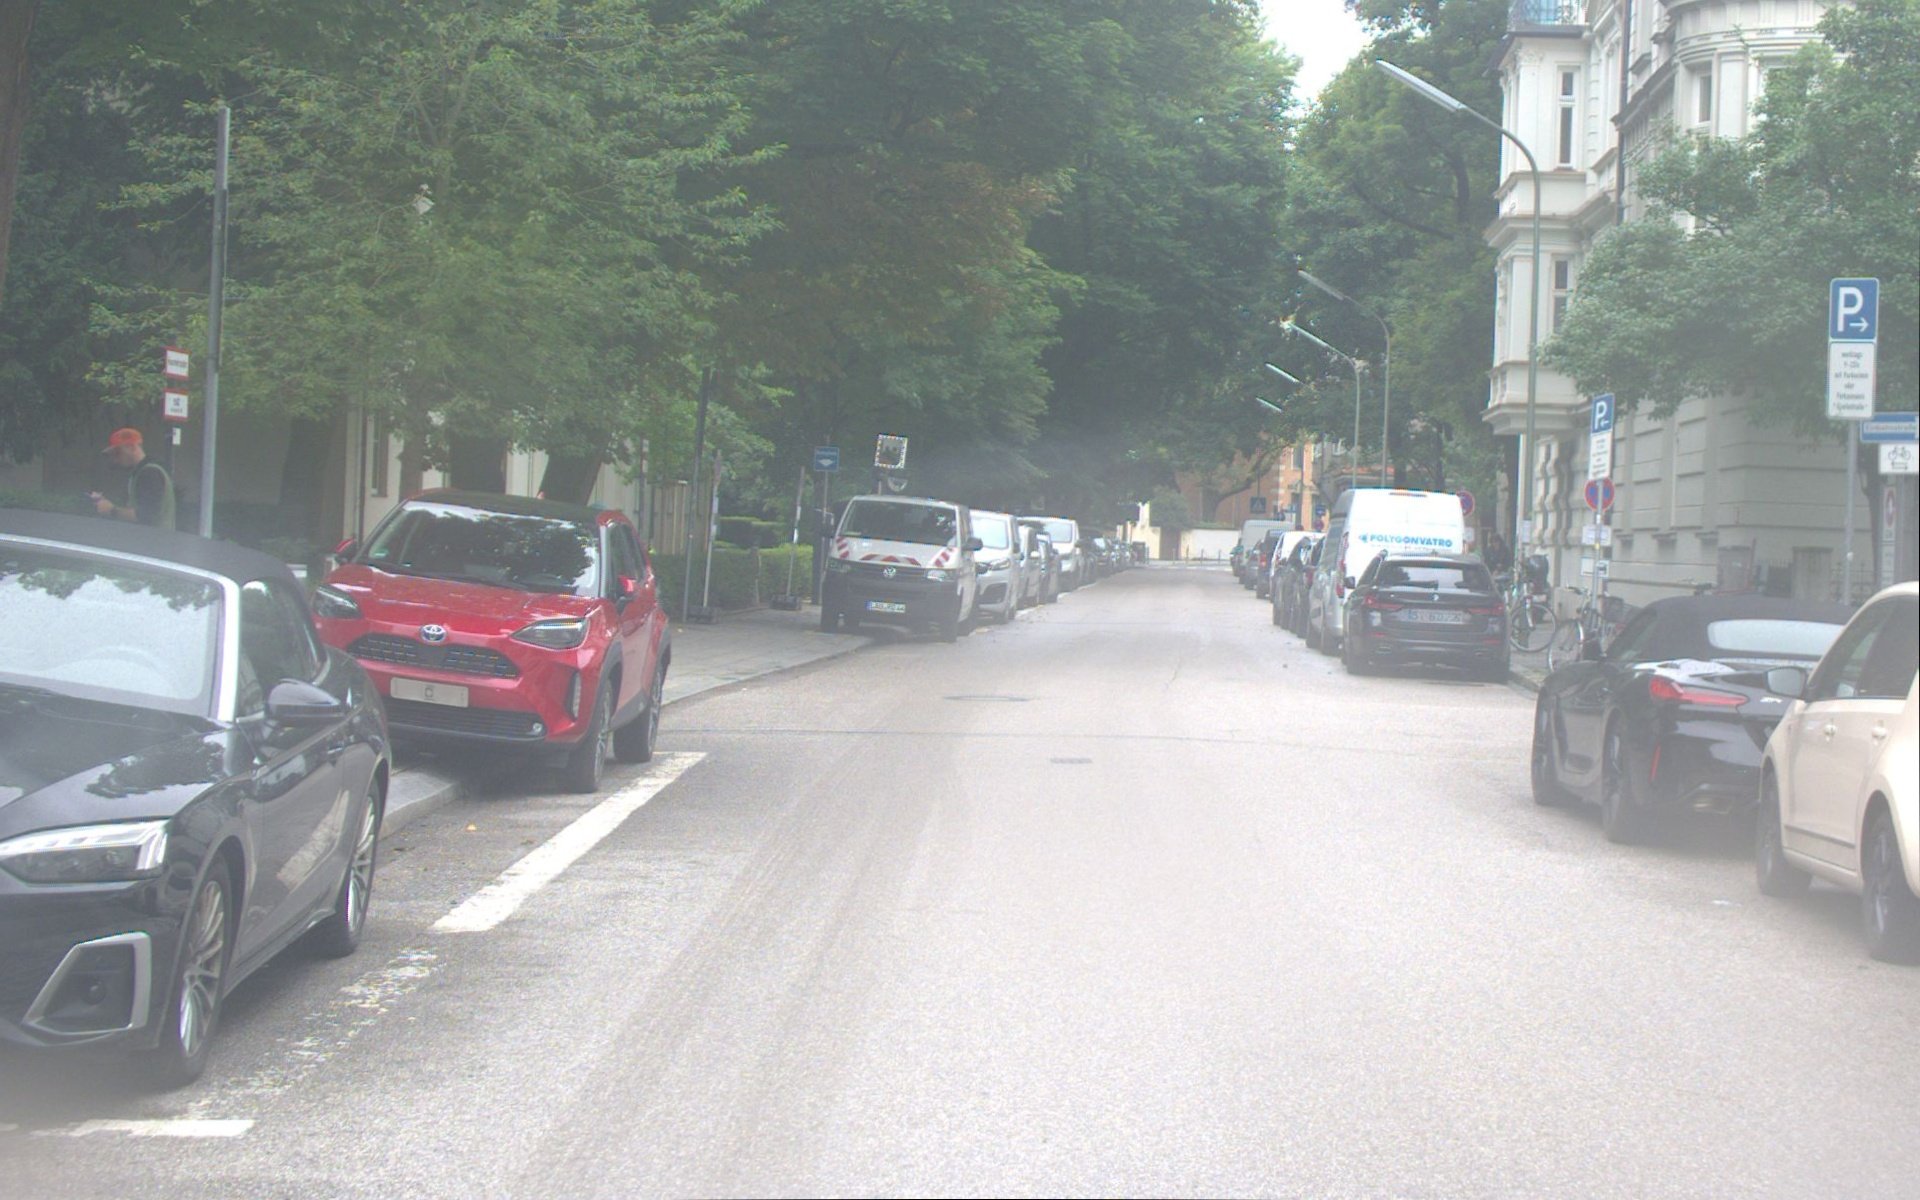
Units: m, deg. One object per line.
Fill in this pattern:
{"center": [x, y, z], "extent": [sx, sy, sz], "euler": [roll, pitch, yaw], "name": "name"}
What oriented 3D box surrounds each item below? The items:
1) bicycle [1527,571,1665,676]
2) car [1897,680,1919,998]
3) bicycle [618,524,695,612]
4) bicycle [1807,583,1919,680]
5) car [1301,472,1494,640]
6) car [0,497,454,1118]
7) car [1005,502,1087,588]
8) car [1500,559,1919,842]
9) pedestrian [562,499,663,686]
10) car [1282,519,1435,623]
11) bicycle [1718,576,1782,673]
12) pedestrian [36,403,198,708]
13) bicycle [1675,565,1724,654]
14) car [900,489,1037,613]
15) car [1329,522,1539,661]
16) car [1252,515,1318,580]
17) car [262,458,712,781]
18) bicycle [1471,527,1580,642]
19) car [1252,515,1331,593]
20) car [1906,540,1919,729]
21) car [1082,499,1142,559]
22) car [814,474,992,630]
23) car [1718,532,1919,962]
{"center": [6.932, 0.242, 37.585], "extent": [0.653, 1.024, 2.203], "euler": [1, 2, -12], "name": "bicycle"}
{"center": [4.231, 0.603, 9.538], "extent": [1.993, 1.701, 4.534], "euler": [4, 1, 1], "name": "car"}
{"center": [-3.956, -0.420, 44.865], "extent": [0.633, 1.099, 1.767], "euler": [3, 1, 5], "name": "bicycle"}
{"center": [10.462, 0.360, 38.278], "extent": [1.923, 1.024, 0.557], "euler": [2, 2, 6], "name": "bicycle"}
{"center": [6.050, -0.618, 48.070], "extent": [2.204, 2.200, 4.855], "euler": [1, 1, 2], "name": "car"}
{"center": [-2.787, 0.416, 10.544], "extent": [1.807, 1.397, 4.925], "euler": [3, 1, -2], "name": "car"}
{"center": [2.357, -1.497, 92.988], "extent": [2.002, 2.179, 4.696], "euler": [3, 1, 3], "name": "car"}
{"center": [4.324, 0.464, 19.039], "extent": [2.000, 1.314, 4.595], "euler": [0, 1, 1], "name": "car"}
{"center": [-2.972, -0.074, 29.461], "extent": [0.713, 1.543, 0.753], "euler": [4, 1, -2], "name": "pedestrian"}
{"center": [6.545, -0.492, 56.903], "extent": [2.138, 1.624, 4.316], "euler": [1, 1, 2], "name": "car"}
{"center": [9.106, 0.270, 39.685], "extent": [0.430, 1.024, 1.890], "euler": [2, 2, 5], "name": "bicycle"}
{"center": [-5.304, -0.280, 21.664], "extent": [0.712, 1.846, 0.797], "euler": [3, 1, 2], "name": "pedestrian"}
{"center": [9.307, 0.109, 43.231], "extent": [0.546, 1.056, 1.750], "euler": [2, 1, 13], "name": "bicycle"}
{"center": [0.179, -0.871, 60.061], "extent": [2.183, 1.950, 5.167], "euler": [3, 1, 1], "name": "car"}
{"center": [5.599, -0.130, 41.128], "extent": [2.273, 1.541, 4.586], "euler": [1, 1, 5], "name": "car"}
{"center": [10.412, -1.695, 110.143], "extent": [1.994, 2.007, 3.999], "euler": [2, 1, 6], "name": "car"}
{"center": [-2.645, 0.055, 20.274], "extent": [1.887, 1.585, 4.528], "euler": [3, 1, 1], "name": "car"}
{"center": [7.793, -0.232, 47.466], "extent": [0.707, 1.510, 2.039], "euler": [2, 1, -13], "name": "bicycle"}
{"center": [8.784, -1.225, 91.028], "extent": [1.994, 1.968, 3.999], "euler": [2, 1, 6], "name": "car"}
{"center": [10.325, 0.395, 27.543], "extent": [4.906, 1.526, 1.913], "euler": [2, 4, 1], "name": "car"}
{"center": [5.862, -2.751, 132.903], "extent": [2.047, 2.147, 4.314], "euler": [3, 1, 1], "name": "car"}
{"center": [-0.736, -0.696, 48.376], "extent": [2.248, 1.950, 5.454], "euler": [3, 1, 1], "name": "car"}
{"center": [4.405, 0.586, 14.158], "extent": [1.771, 1.540, 3.711], "euler": [7, 1, 3], "name": "car"}
